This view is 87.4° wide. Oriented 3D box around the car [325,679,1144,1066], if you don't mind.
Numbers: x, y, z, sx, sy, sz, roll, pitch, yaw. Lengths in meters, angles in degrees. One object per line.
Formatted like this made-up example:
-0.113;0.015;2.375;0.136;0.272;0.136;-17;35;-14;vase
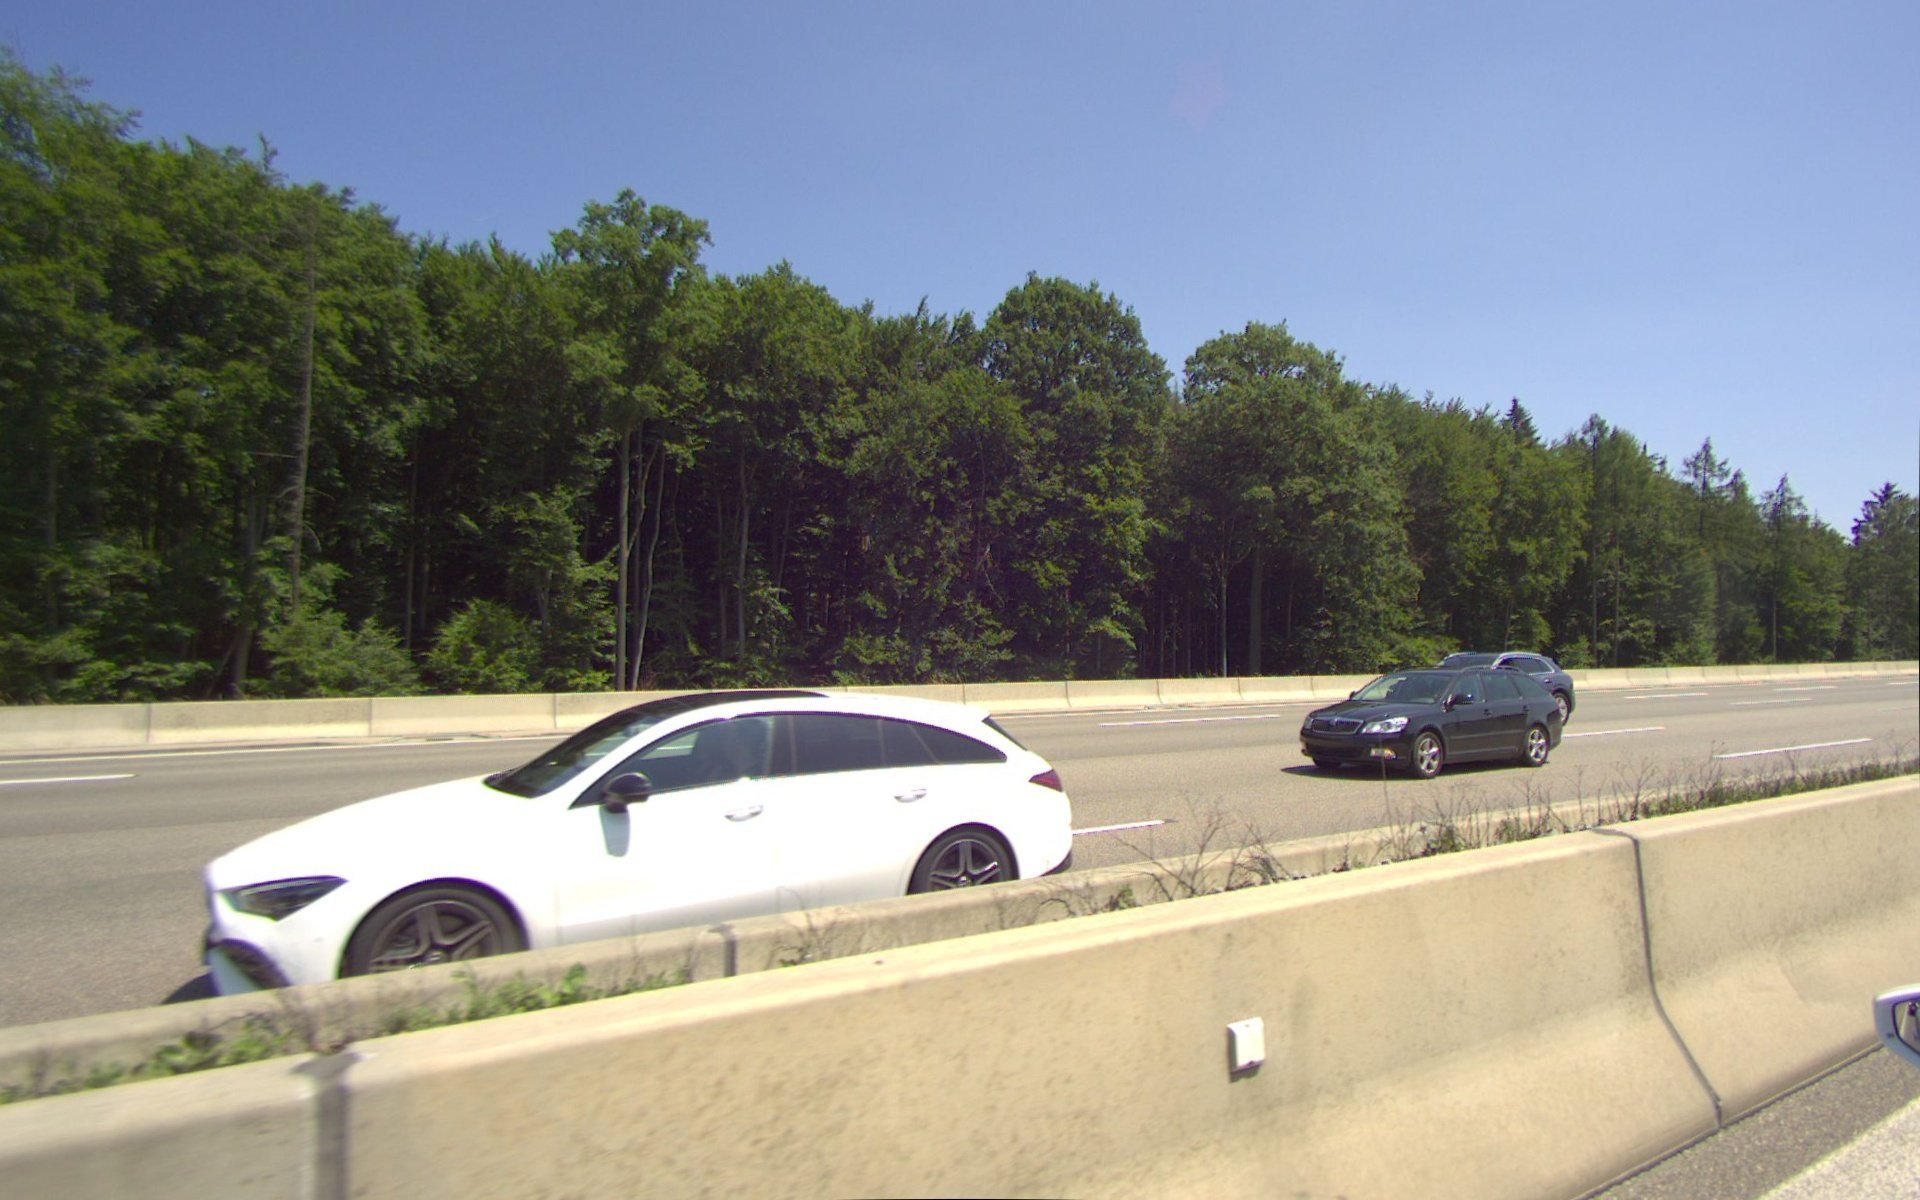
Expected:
-1.161;1.253;6.024;4.416;1.413;1.815;2;-3;-32;car

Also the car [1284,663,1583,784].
6.911;1.665;14.518;4.562;1.446;1.694;2;-3;-32;car

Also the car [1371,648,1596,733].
11.714;1.930;22.395;5.127;1.696;2.038;1;-3;-30;car
